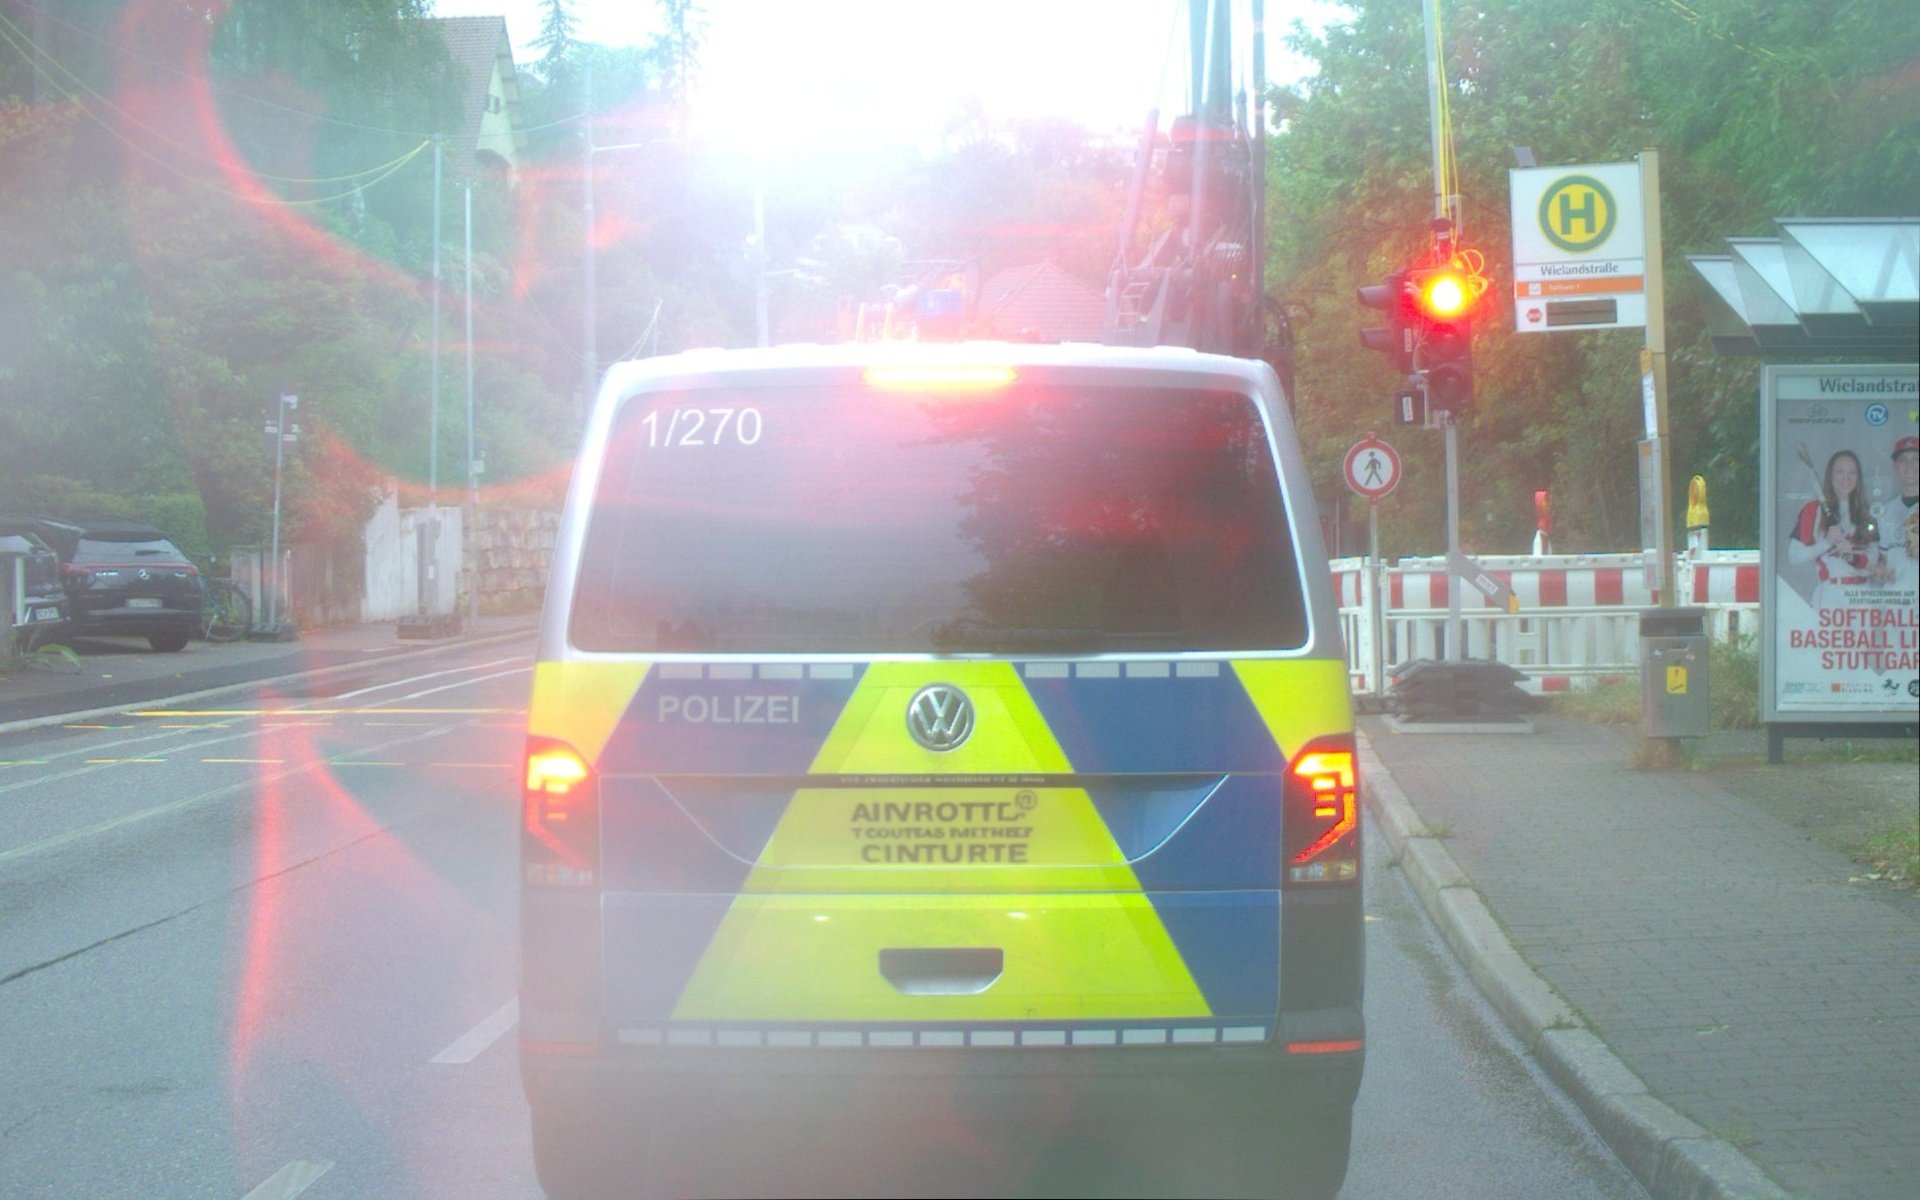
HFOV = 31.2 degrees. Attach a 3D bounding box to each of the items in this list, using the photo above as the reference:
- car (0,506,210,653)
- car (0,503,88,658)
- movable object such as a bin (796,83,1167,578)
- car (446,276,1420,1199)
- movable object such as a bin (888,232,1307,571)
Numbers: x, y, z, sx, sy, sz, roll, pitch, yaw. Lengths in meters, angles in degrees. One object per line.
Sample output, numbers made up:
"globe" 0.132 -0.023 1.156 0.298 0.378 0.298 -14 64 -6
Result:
"car" -10.000 -0.253 37.834 1.781 1.520 3.999 0 1 -39
"car" -11.150 -0.227 34.905 3.989 1.520 1.940 1 1 13
"movable object such as a bin" 0.313 -2.369 31.601 2.879 4.156 4.486 -1 2 6
"car" -0.080 0.351 9.037 1.908 2.003 4.440 1 1 -1
"movable object such as a bin" 2.360 -3.063 55.851 3.689 5.049 7.150 -1 0 32
